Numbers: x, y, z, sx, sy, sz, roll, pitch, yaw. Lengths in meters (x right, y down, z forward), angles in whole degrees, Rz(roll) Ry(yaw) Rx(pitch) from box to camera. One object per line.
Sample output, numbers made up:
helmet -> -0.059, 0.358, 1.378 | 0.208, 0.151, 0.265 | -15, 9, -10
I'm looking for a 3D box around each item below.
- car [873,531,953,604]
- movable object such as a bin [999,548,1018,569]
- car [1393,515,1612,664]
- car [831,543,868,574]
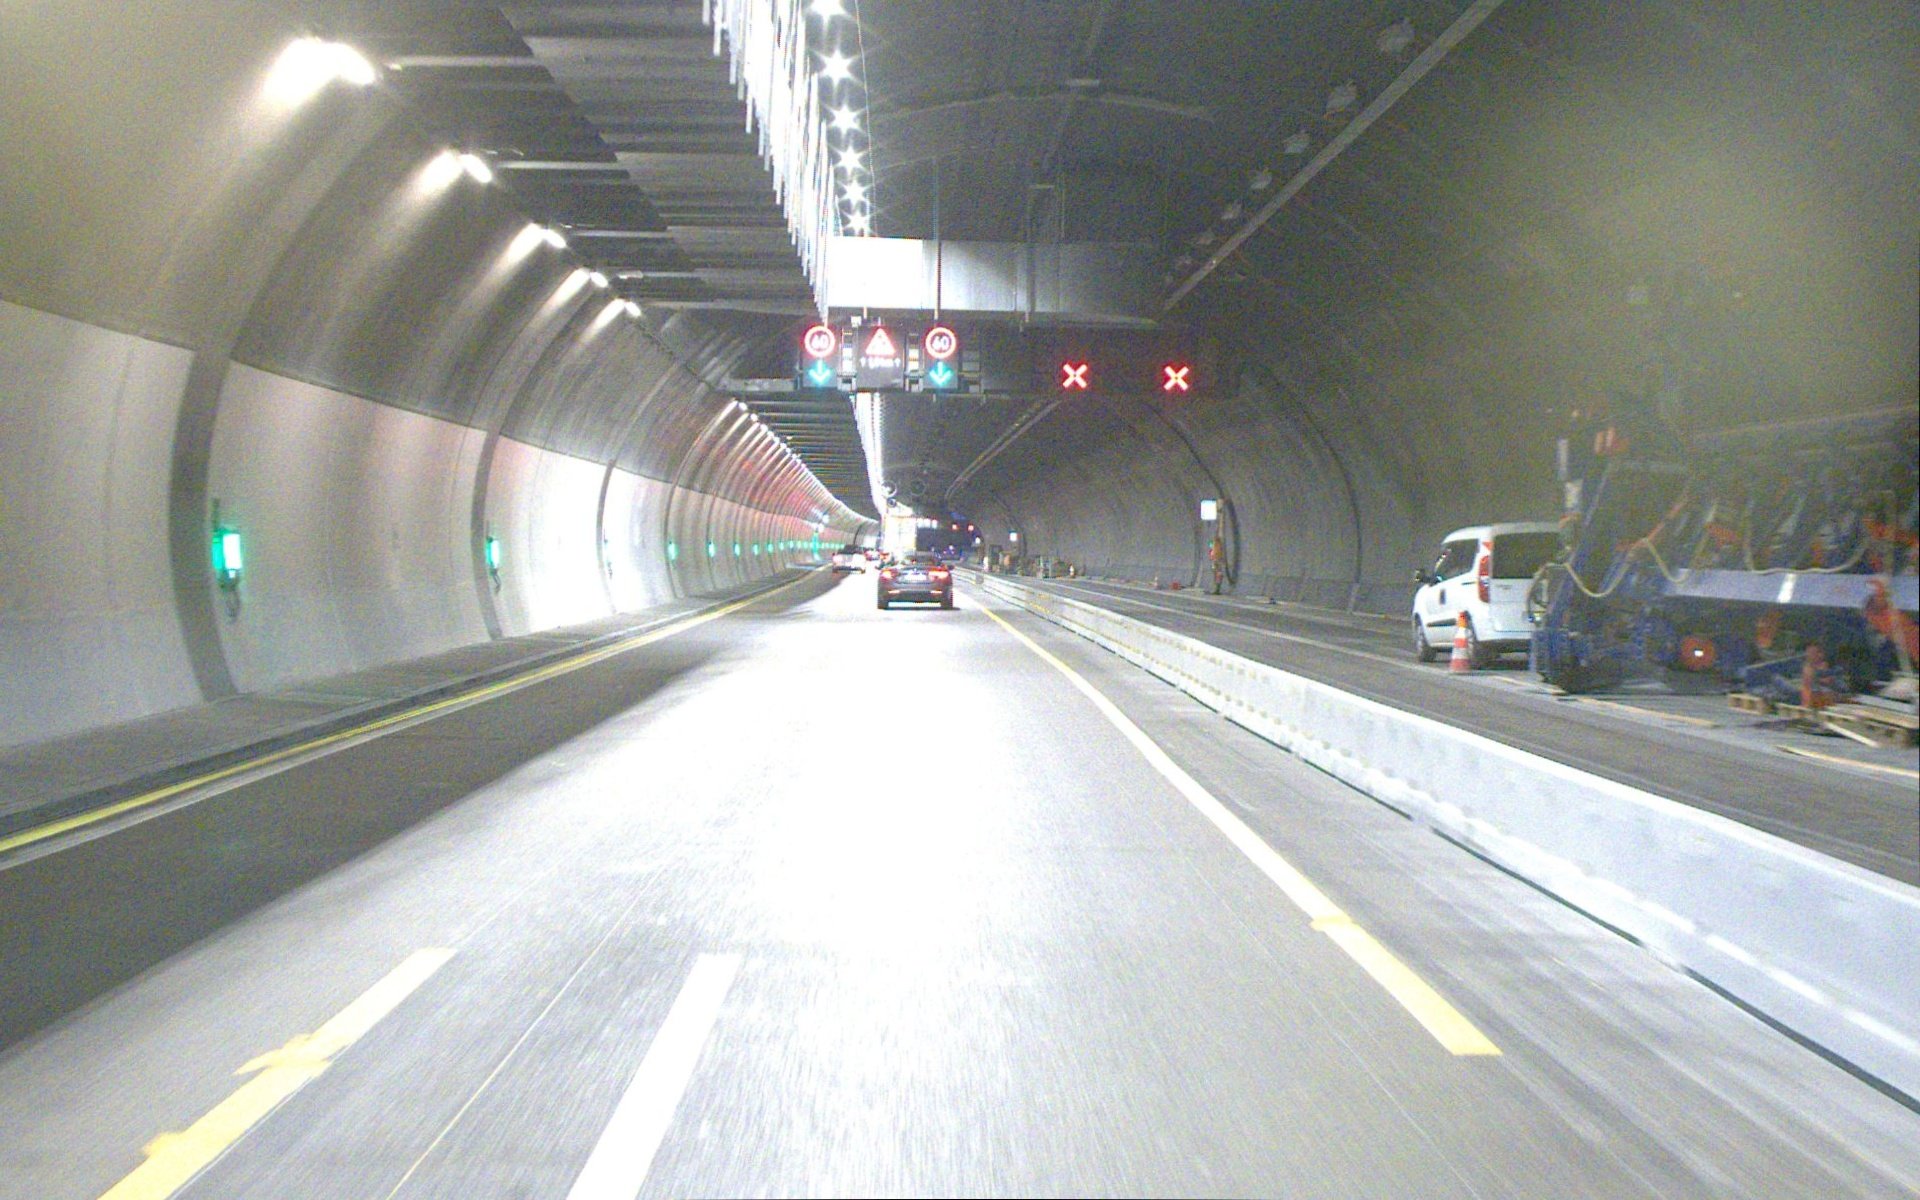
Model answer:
car -> -1.194, -0.826, 86.070 | 1.947, 1.788, 4.000 | 0, 1, -1
movable object such as a bin -> 3.515, -2.976, 247.520 | 1.234, 1.437, 2.217 | 2, 1, -2
car -> 7.058, -0.178, 45.154 | 1.750, 1.839, 4.647 | -1, 1, -5
car -> -6.087, -2.304, 189.396 | 1.930, 1.681, 4.000 | 0, 1, -1
